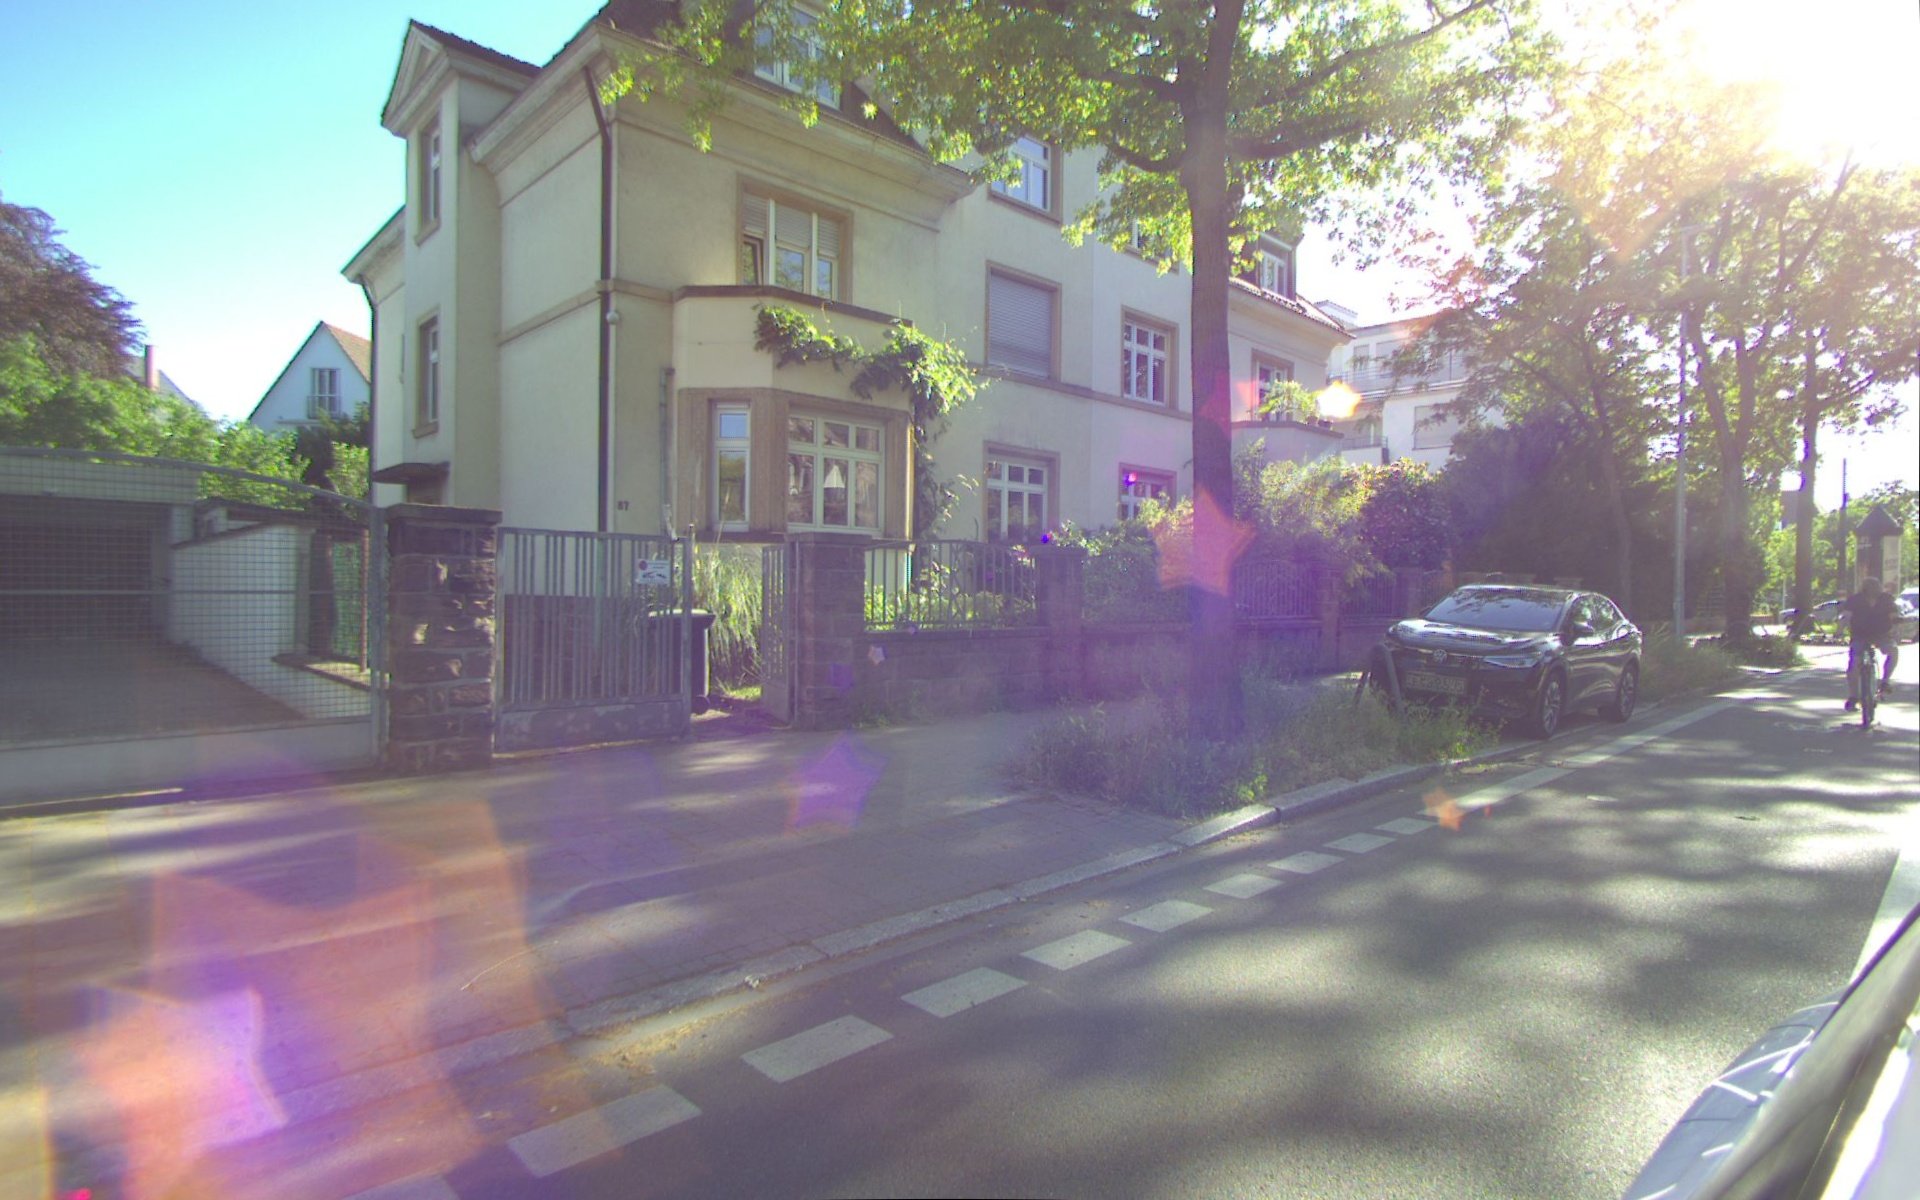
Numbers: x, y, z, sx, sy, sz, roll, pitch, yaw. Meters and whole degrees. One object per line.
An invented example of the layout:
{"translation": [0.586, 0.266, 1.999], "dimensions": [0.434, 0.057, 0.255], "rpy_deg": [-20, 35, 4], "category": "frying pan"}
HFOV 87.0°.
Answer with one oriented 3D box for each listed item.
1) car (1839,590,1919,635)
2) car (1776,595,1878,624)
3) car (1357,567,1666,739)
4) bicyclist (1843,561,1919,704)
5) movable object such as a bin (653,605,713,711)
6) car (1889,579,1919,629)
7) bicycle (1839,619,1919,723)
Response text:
{"translation": [31.513, 0.384, 34.268], "dimensions": [4.181, 1.427, 1.901], "rpy_deg": [0, 1, -38], "category": "car"}
{"translation": [46.067, 0.461, 53.834], "dimensions": [1.784, 1.459, 3.990], "rpy_deg": [0, 1, -44], "category": "car"}
{"translation": [6.710, 0.497, 12.131], "dimensions": [4.186, 1.619, 1.917], "rpy_deg": [0, 4, -42], "category": "car"}
{"translation": [11.188, 0.376, 12.265], "dimensions": [0.654, 1.662, 0.643], "rpy_deg": [0, 0, -41], "category": "bicyclist"}
{"translation": [-2.922, 0.587, 10.666], "dimensions": [0.551, 1.062, 0.676], "rpy_deg": [0, 0, -20], "category": "movable object such as a bin"}
{"translation": [36.673, 0.131, 37.850], "dimensions": [4.580, 1.808, 1.903], "rpy_deg": [0, 1, -35], "category": "car"}
{"translation": [11.189, 0.820, 12.249], "dimensions": [1.823, 1.125, 0.588], "rpy_deg": [0, 0, -41], "category": "bicycle"}
